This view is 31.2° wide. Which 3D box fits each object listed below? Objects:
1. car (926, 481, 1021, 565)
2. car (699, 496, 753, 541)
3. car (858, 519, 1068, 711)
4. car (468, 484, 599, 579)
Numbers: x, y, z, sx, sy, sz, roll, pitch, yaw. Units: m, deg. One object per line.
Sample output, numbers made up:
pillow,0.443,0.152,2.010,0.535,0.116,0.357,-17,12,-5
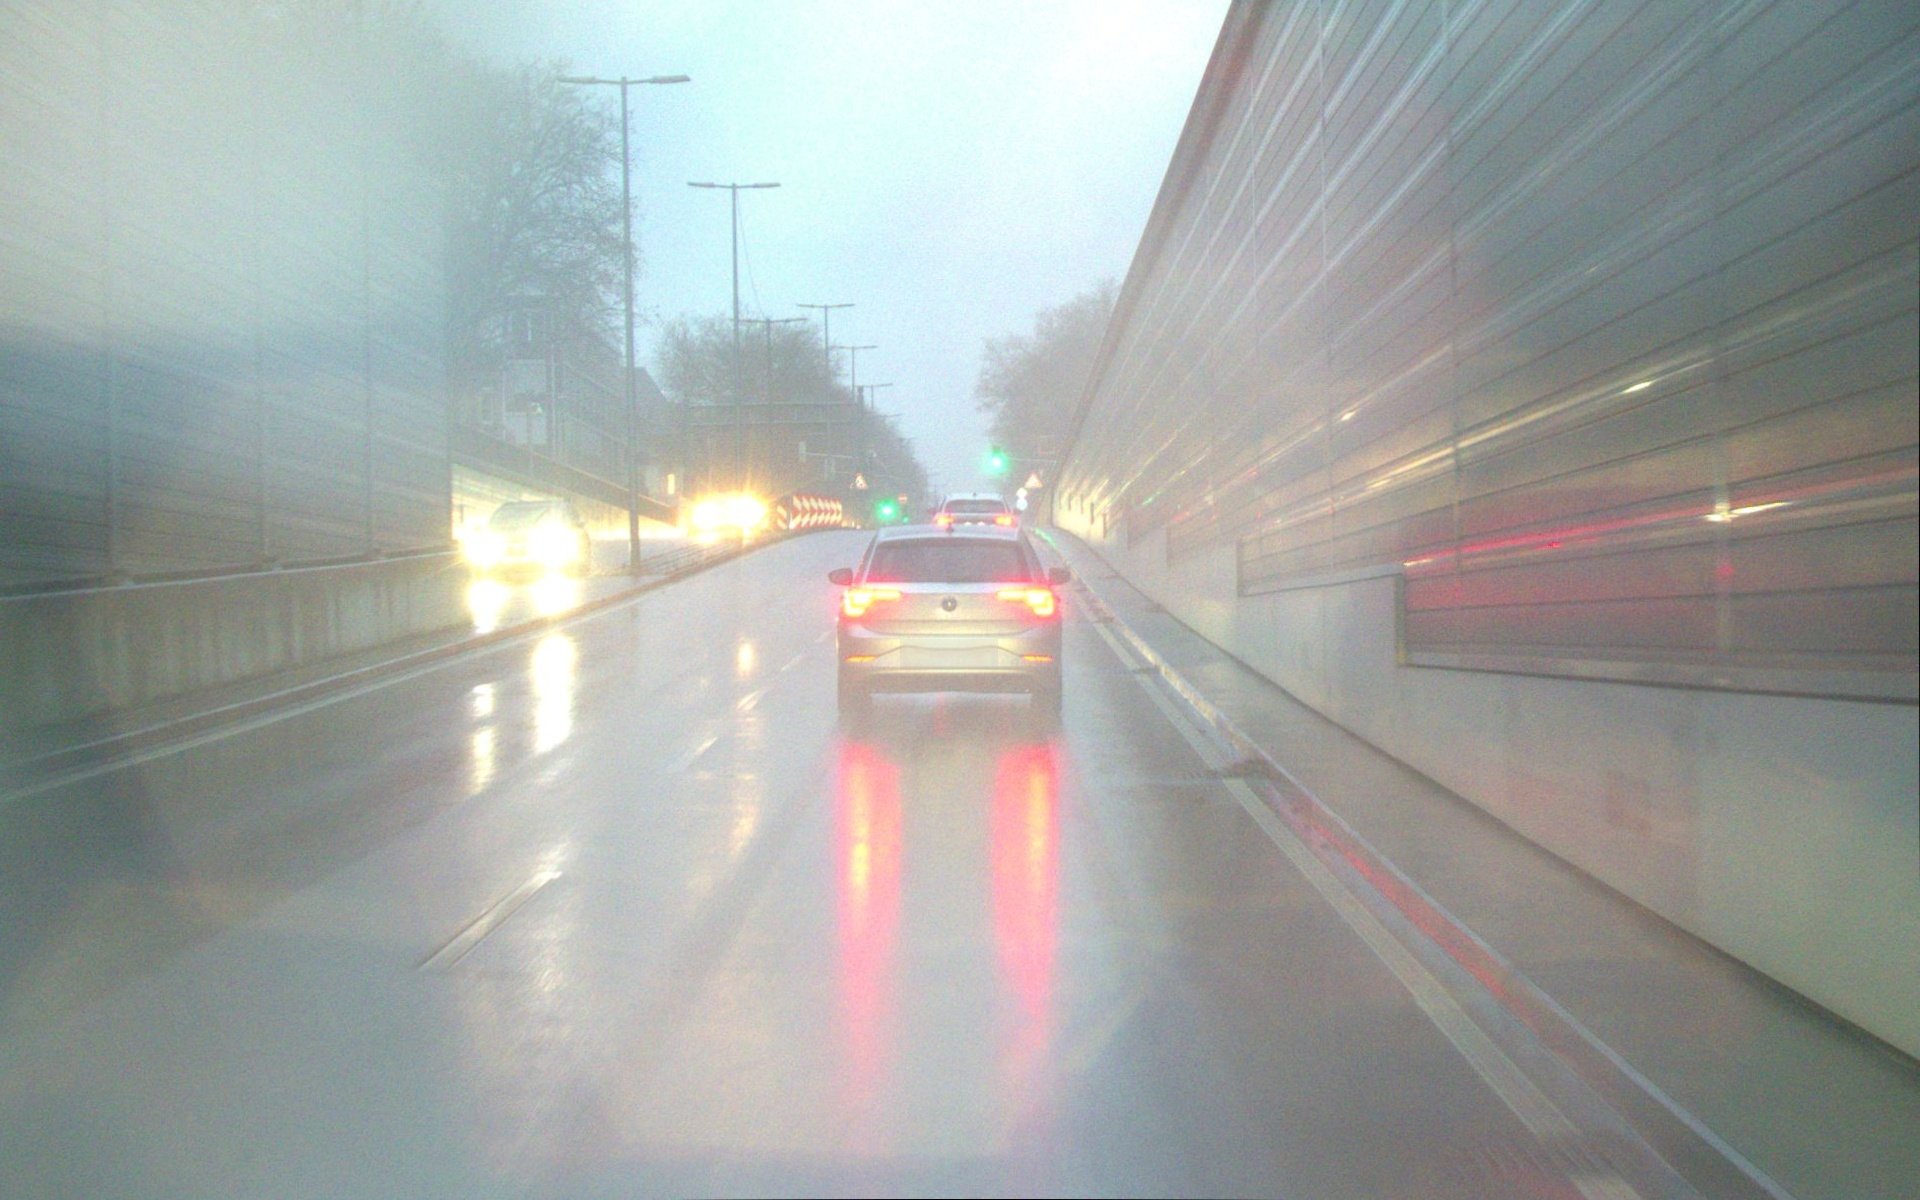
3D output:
car,0.258,-1.622,73.739,1.880,1.615,4.000,2,-1,-1
car,-7.948,-2.780,117.106,1.571,1.465,3.687,0,2,0
car,0.039,0.103,27.219,1.532,1.392,3.434,1,0,1
car,-8.027,-1.269,65.021,1.880,1.615,4.000,2,-1,1
